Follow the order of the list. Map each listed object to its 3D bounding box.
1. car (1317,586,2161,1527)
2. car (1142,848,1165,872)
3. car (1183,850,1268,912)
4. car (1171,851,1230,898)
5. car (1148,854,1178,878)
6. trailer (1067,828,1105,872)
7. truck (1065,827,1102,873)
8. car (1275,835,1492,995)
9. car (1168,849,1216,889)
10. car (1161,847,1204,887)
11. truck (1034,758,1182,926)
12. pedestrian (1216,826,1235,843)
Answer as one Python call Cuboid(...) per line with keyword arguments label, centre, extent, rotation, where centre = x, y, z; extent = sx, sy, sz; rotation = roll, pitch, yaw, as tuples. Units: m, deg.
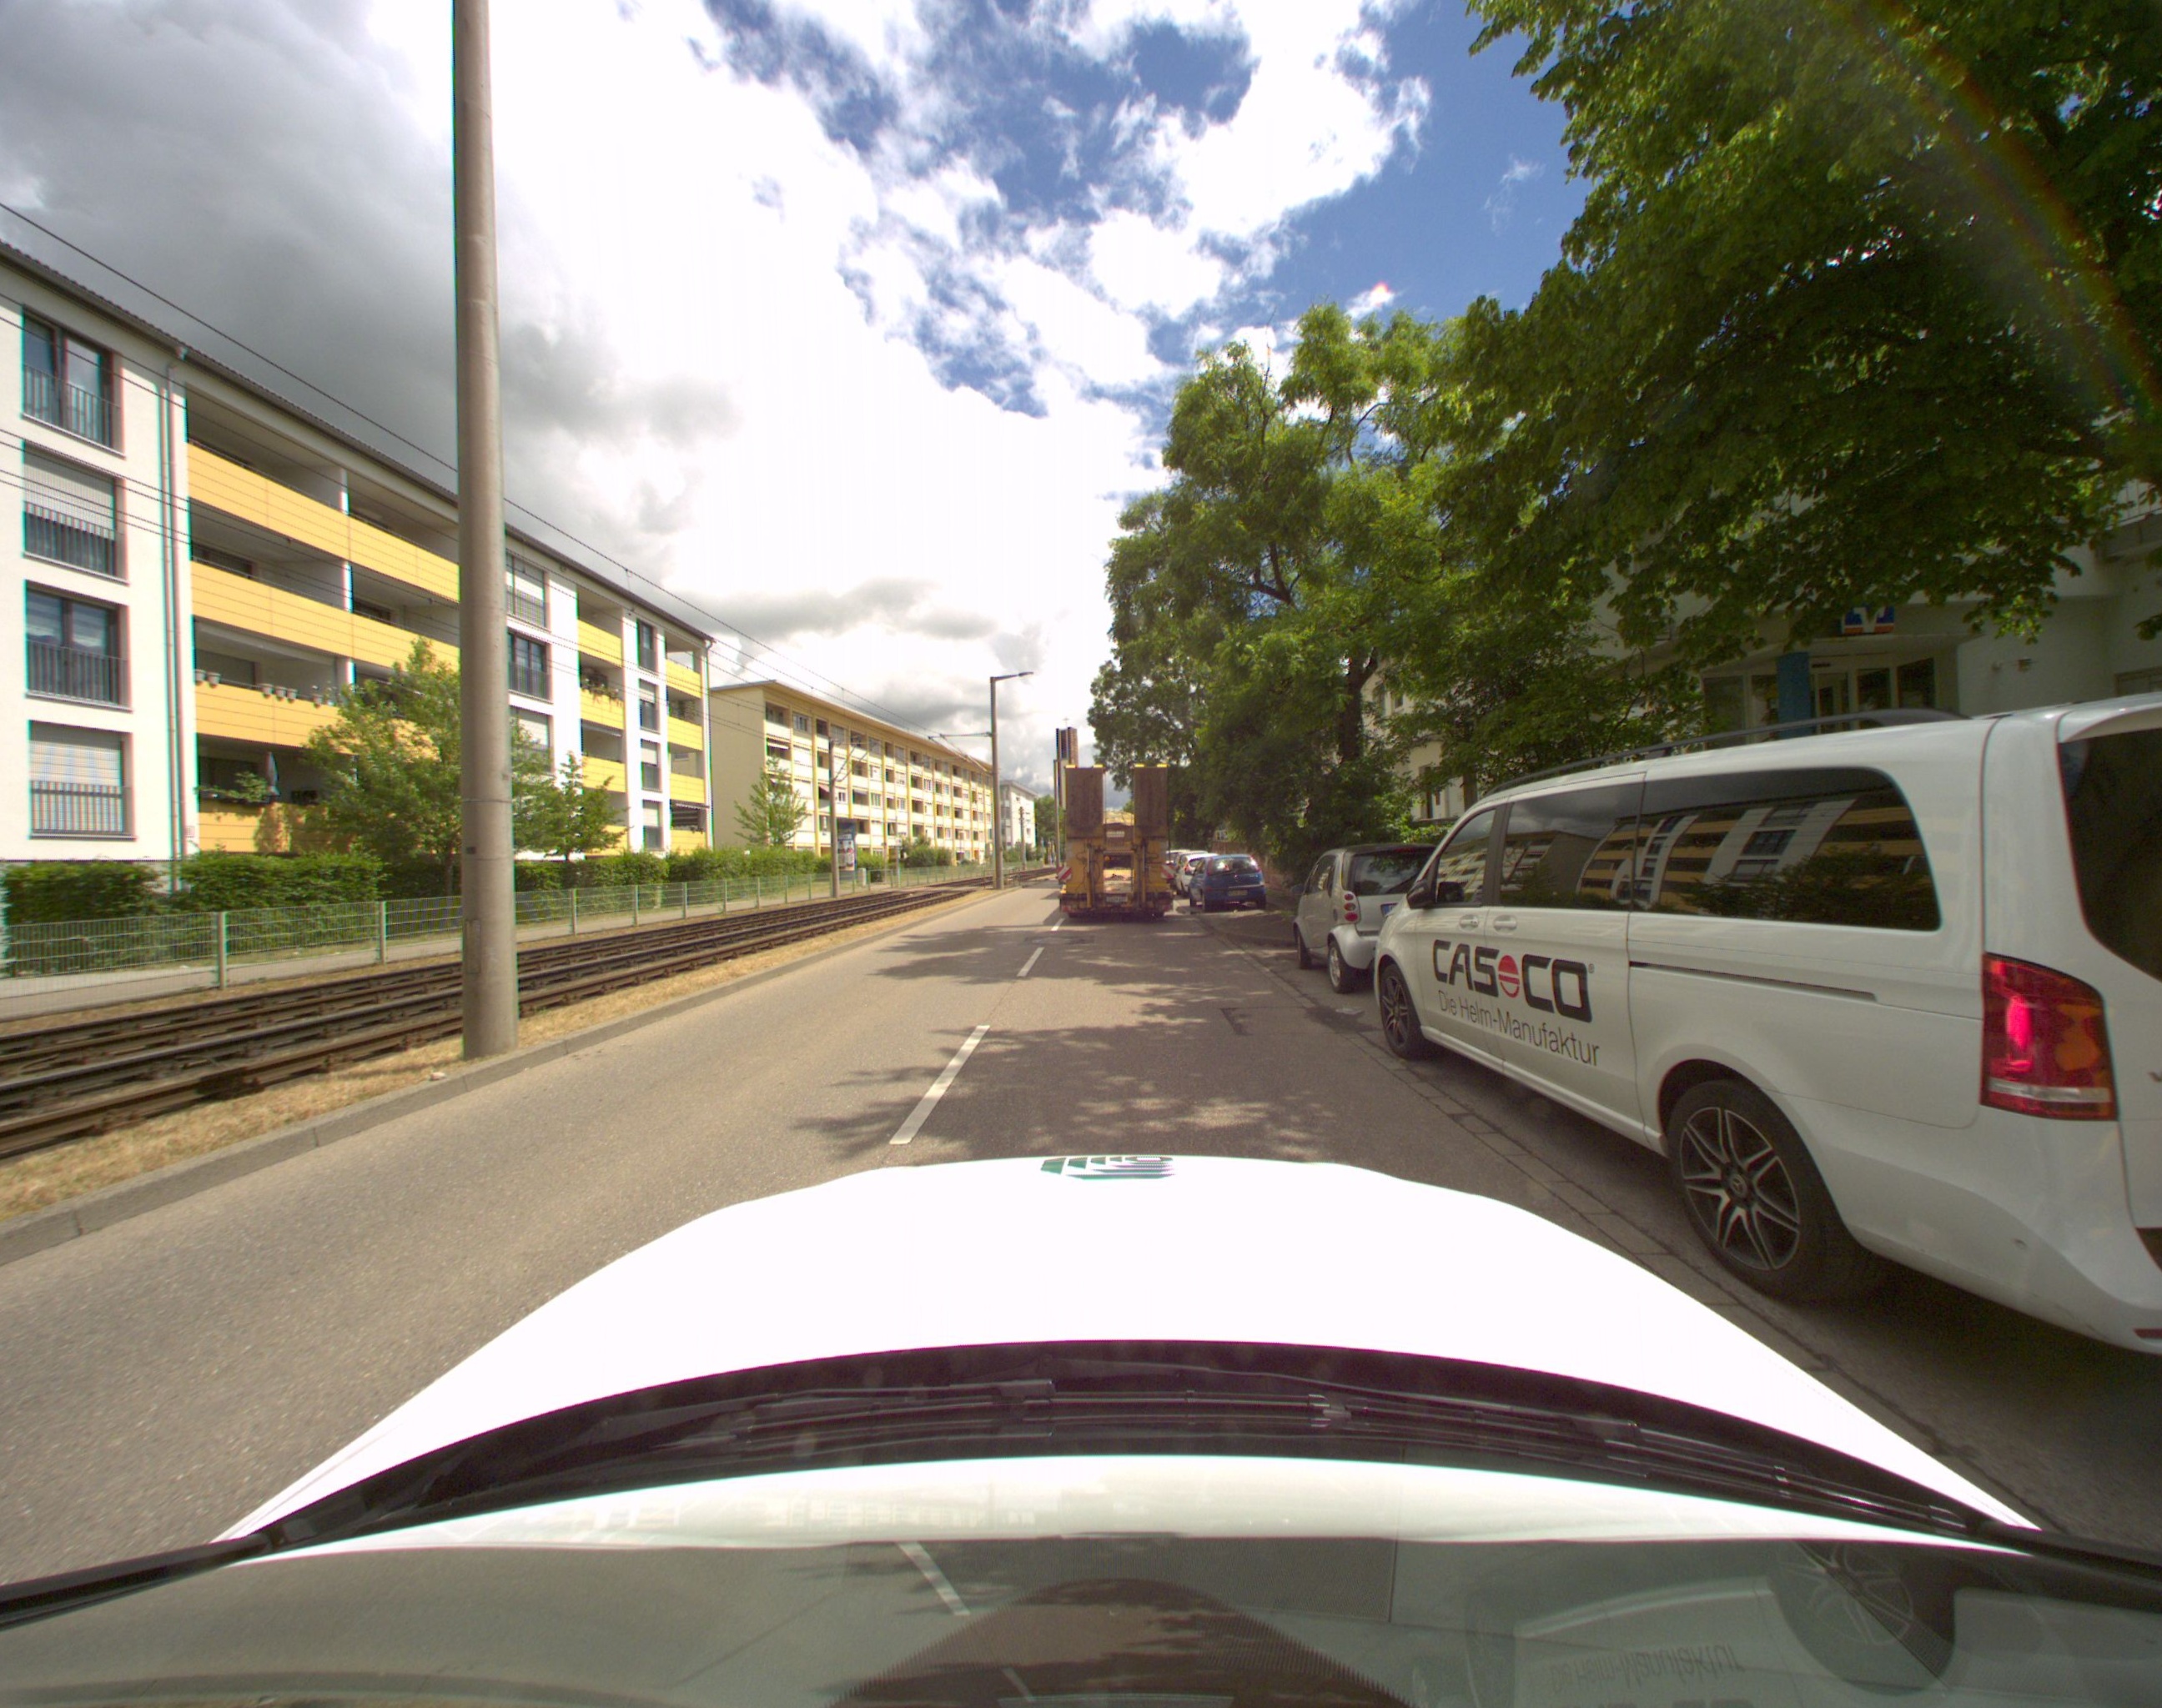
Cuboid(label="car", centre=(3.117, 0.374, 4.579), extent=(1.908, 1.958, 5.745), rotation=(-3, 0, 1))
Cuboid(label="car", centre=(6.381, 0.528, 71.713), extent=(1.792, 1.968, 4.594), rotation=(-3, 0, 3))
Cuboid(label="car", centre=(3.830, 0.662, 22.135), extent=(1.602, 1.456, 3.676), rotation=(-3, 0, 0))
Cuboid(label="car", centre=(4.156, 0.684, 28.701), extent=(1.638, 1.490, 3.824), rotation=(-2, 0, 2))
Cuboid(label="car", centre=(5.382, 0.746, 53.817), extent=(1.828, 1.405, 4.419), rotation=(-3, 0, 4))
Cuboid(label="trailer", centre=(0.588, -0.388, 73.360), extent=(2.687, 3.580, 13.686), rotation=(-1, 0, 3))
Cuboid(label="truck", centre=(0.257, -0.353, 66.728), extent=(2.687, 3.580, 6.150), rotation=(-1, 0, 3))
Cuboid(label="car", centre=(3.414, 0.616, 9.698), extent=(1.507, 1.534, 2.848), rotation=(-3, 0, 1))
Cuboid(label="car", centre=(4.565, 0.587, 33.835), extent=(1.576, 1.552, 3.476), rotation=(-2, 0, 1))
Cuboid(label="car", centre=(4.738, 0.558, 38.495), extent=(1.815, 1.682, 4.582), rotation=(-3, 0, 5))
Cuboid(label="truck", centre=(0.729, -0.290, 23.955), extent=(3.113, 3.564, 12.462), rotation=(-2, 0, 1))
Cuboid(label="pedestrian", centre=(6.828, -0.932, 38.586), extent=(0.792, 0.790, 0.705), rotation=(-2, 0, 1))
